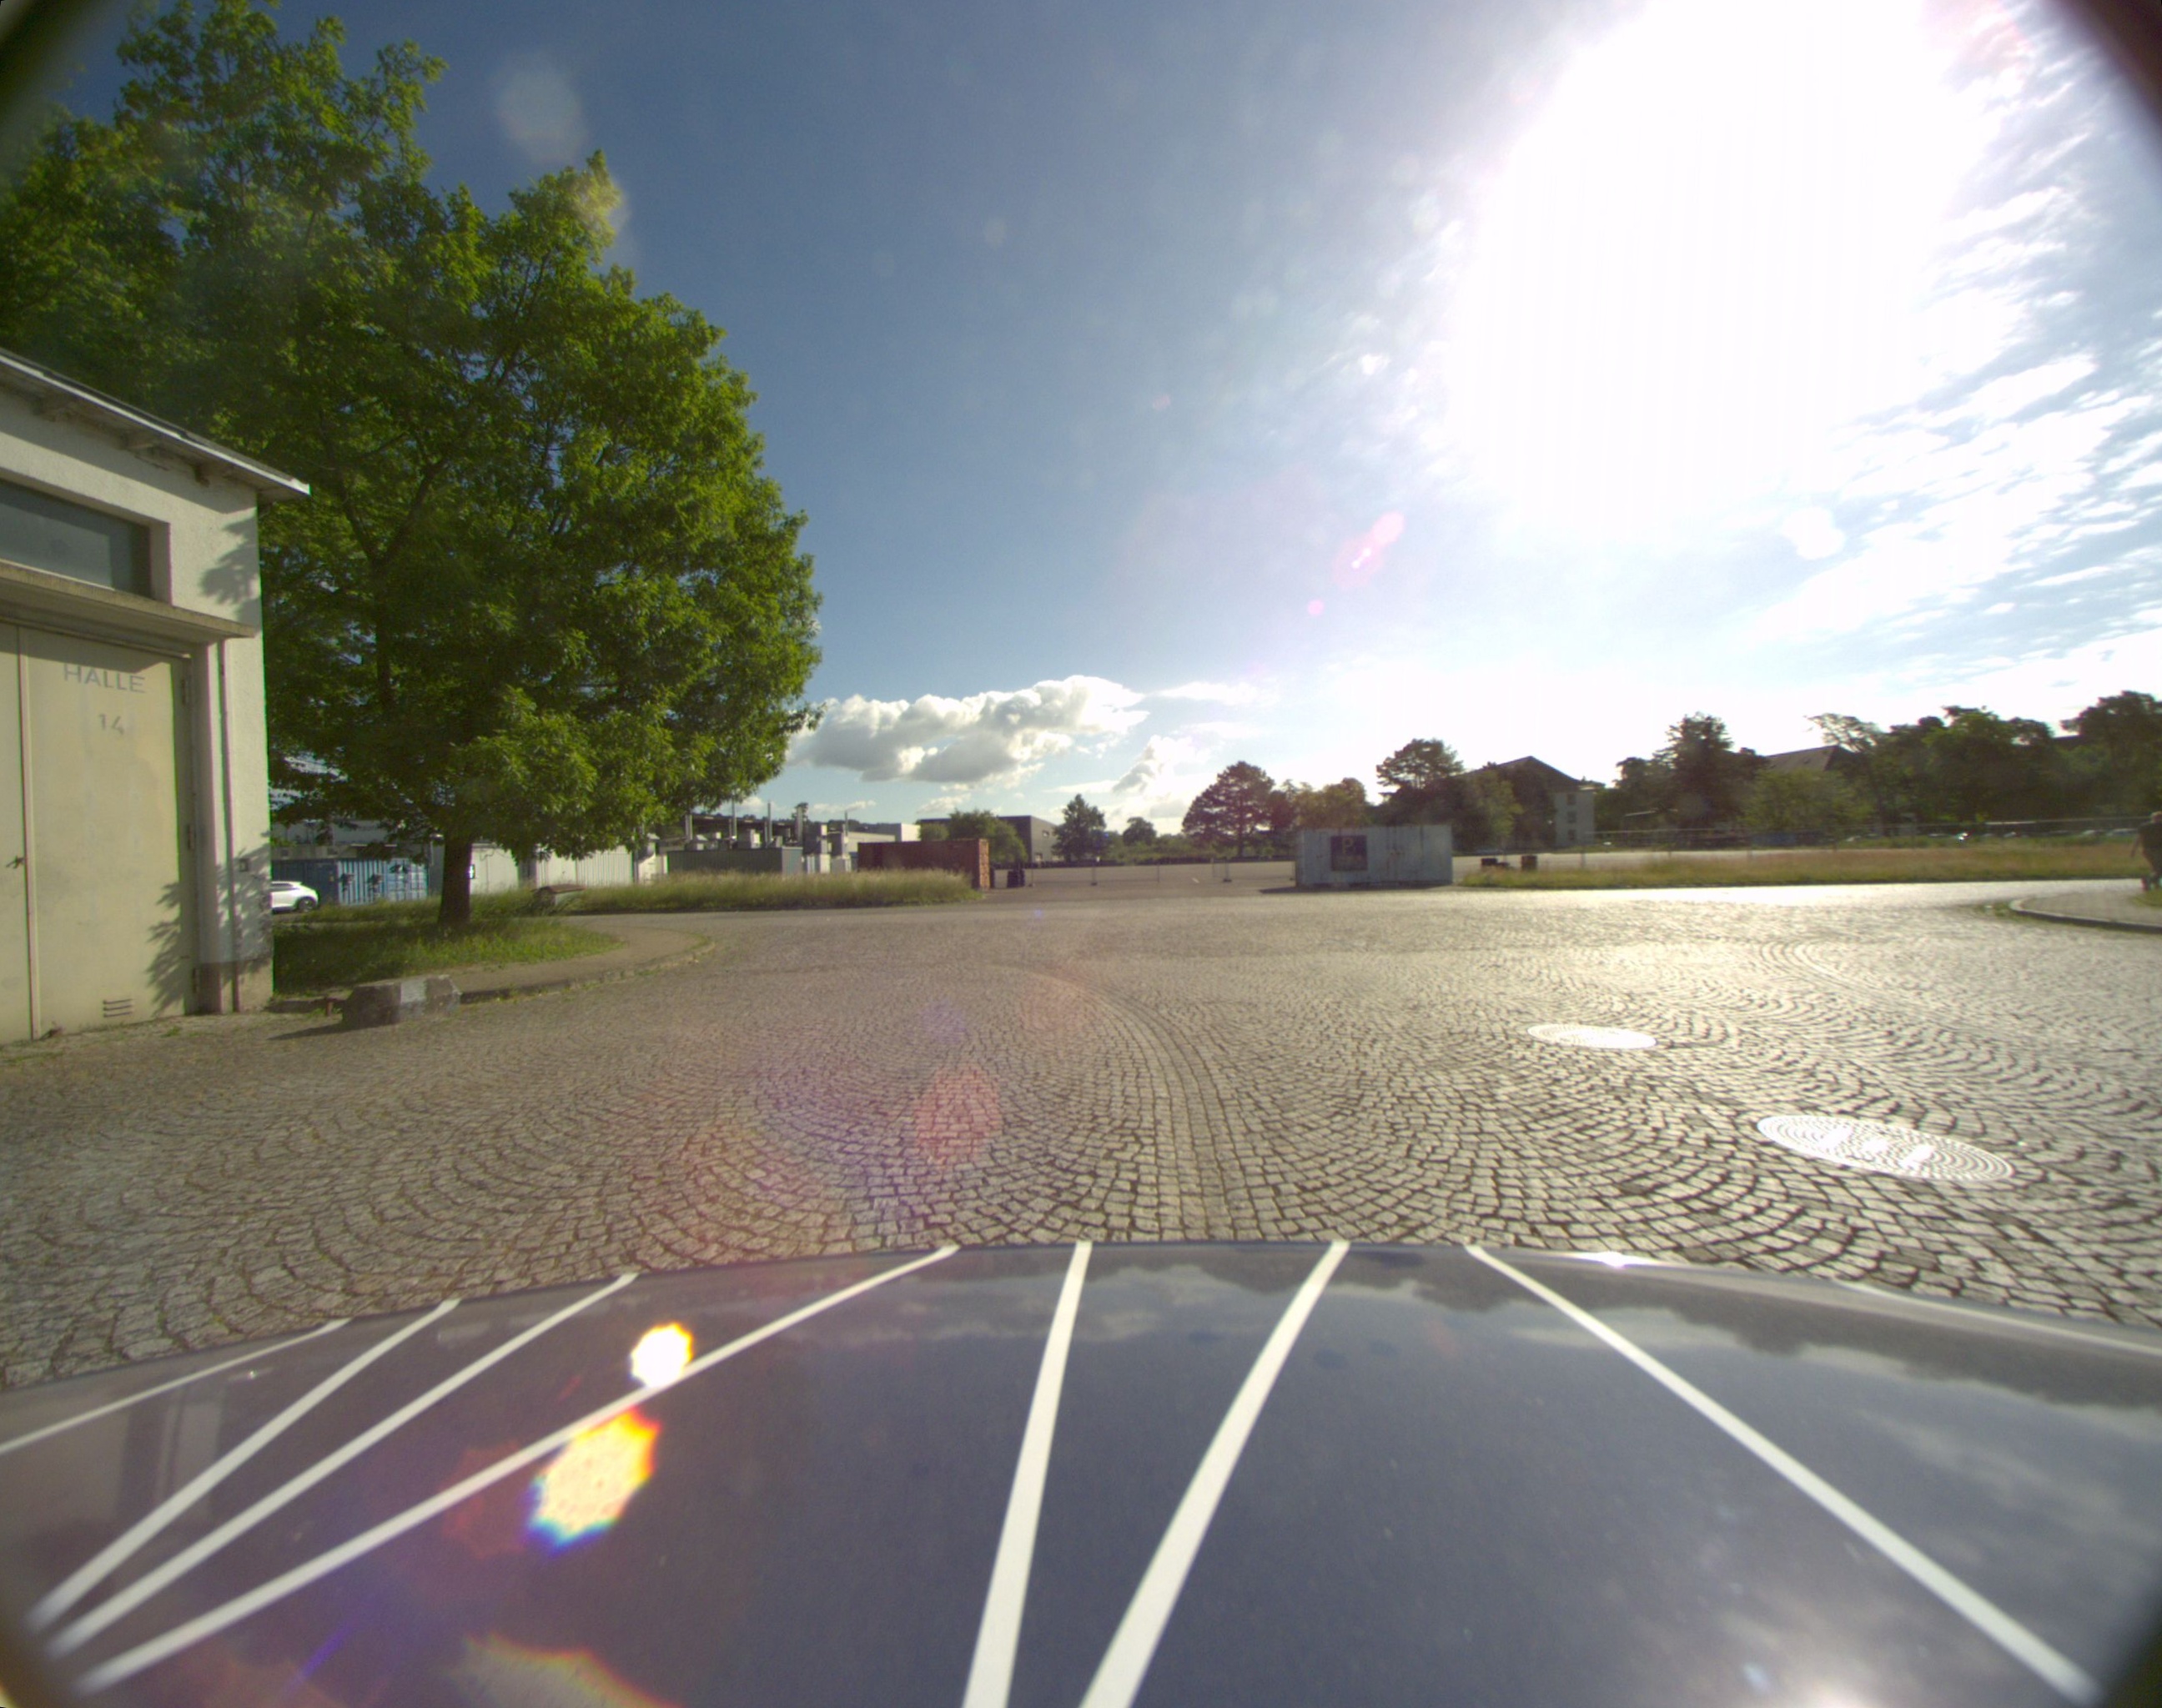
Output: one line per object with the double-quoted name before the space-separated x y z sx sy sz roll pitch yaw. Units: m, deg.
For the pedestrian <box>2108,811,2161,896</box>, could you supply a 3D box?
"pedestrian" 24.766 -0.019 17.483 1.141 1.903 0.800 -1 1 5
